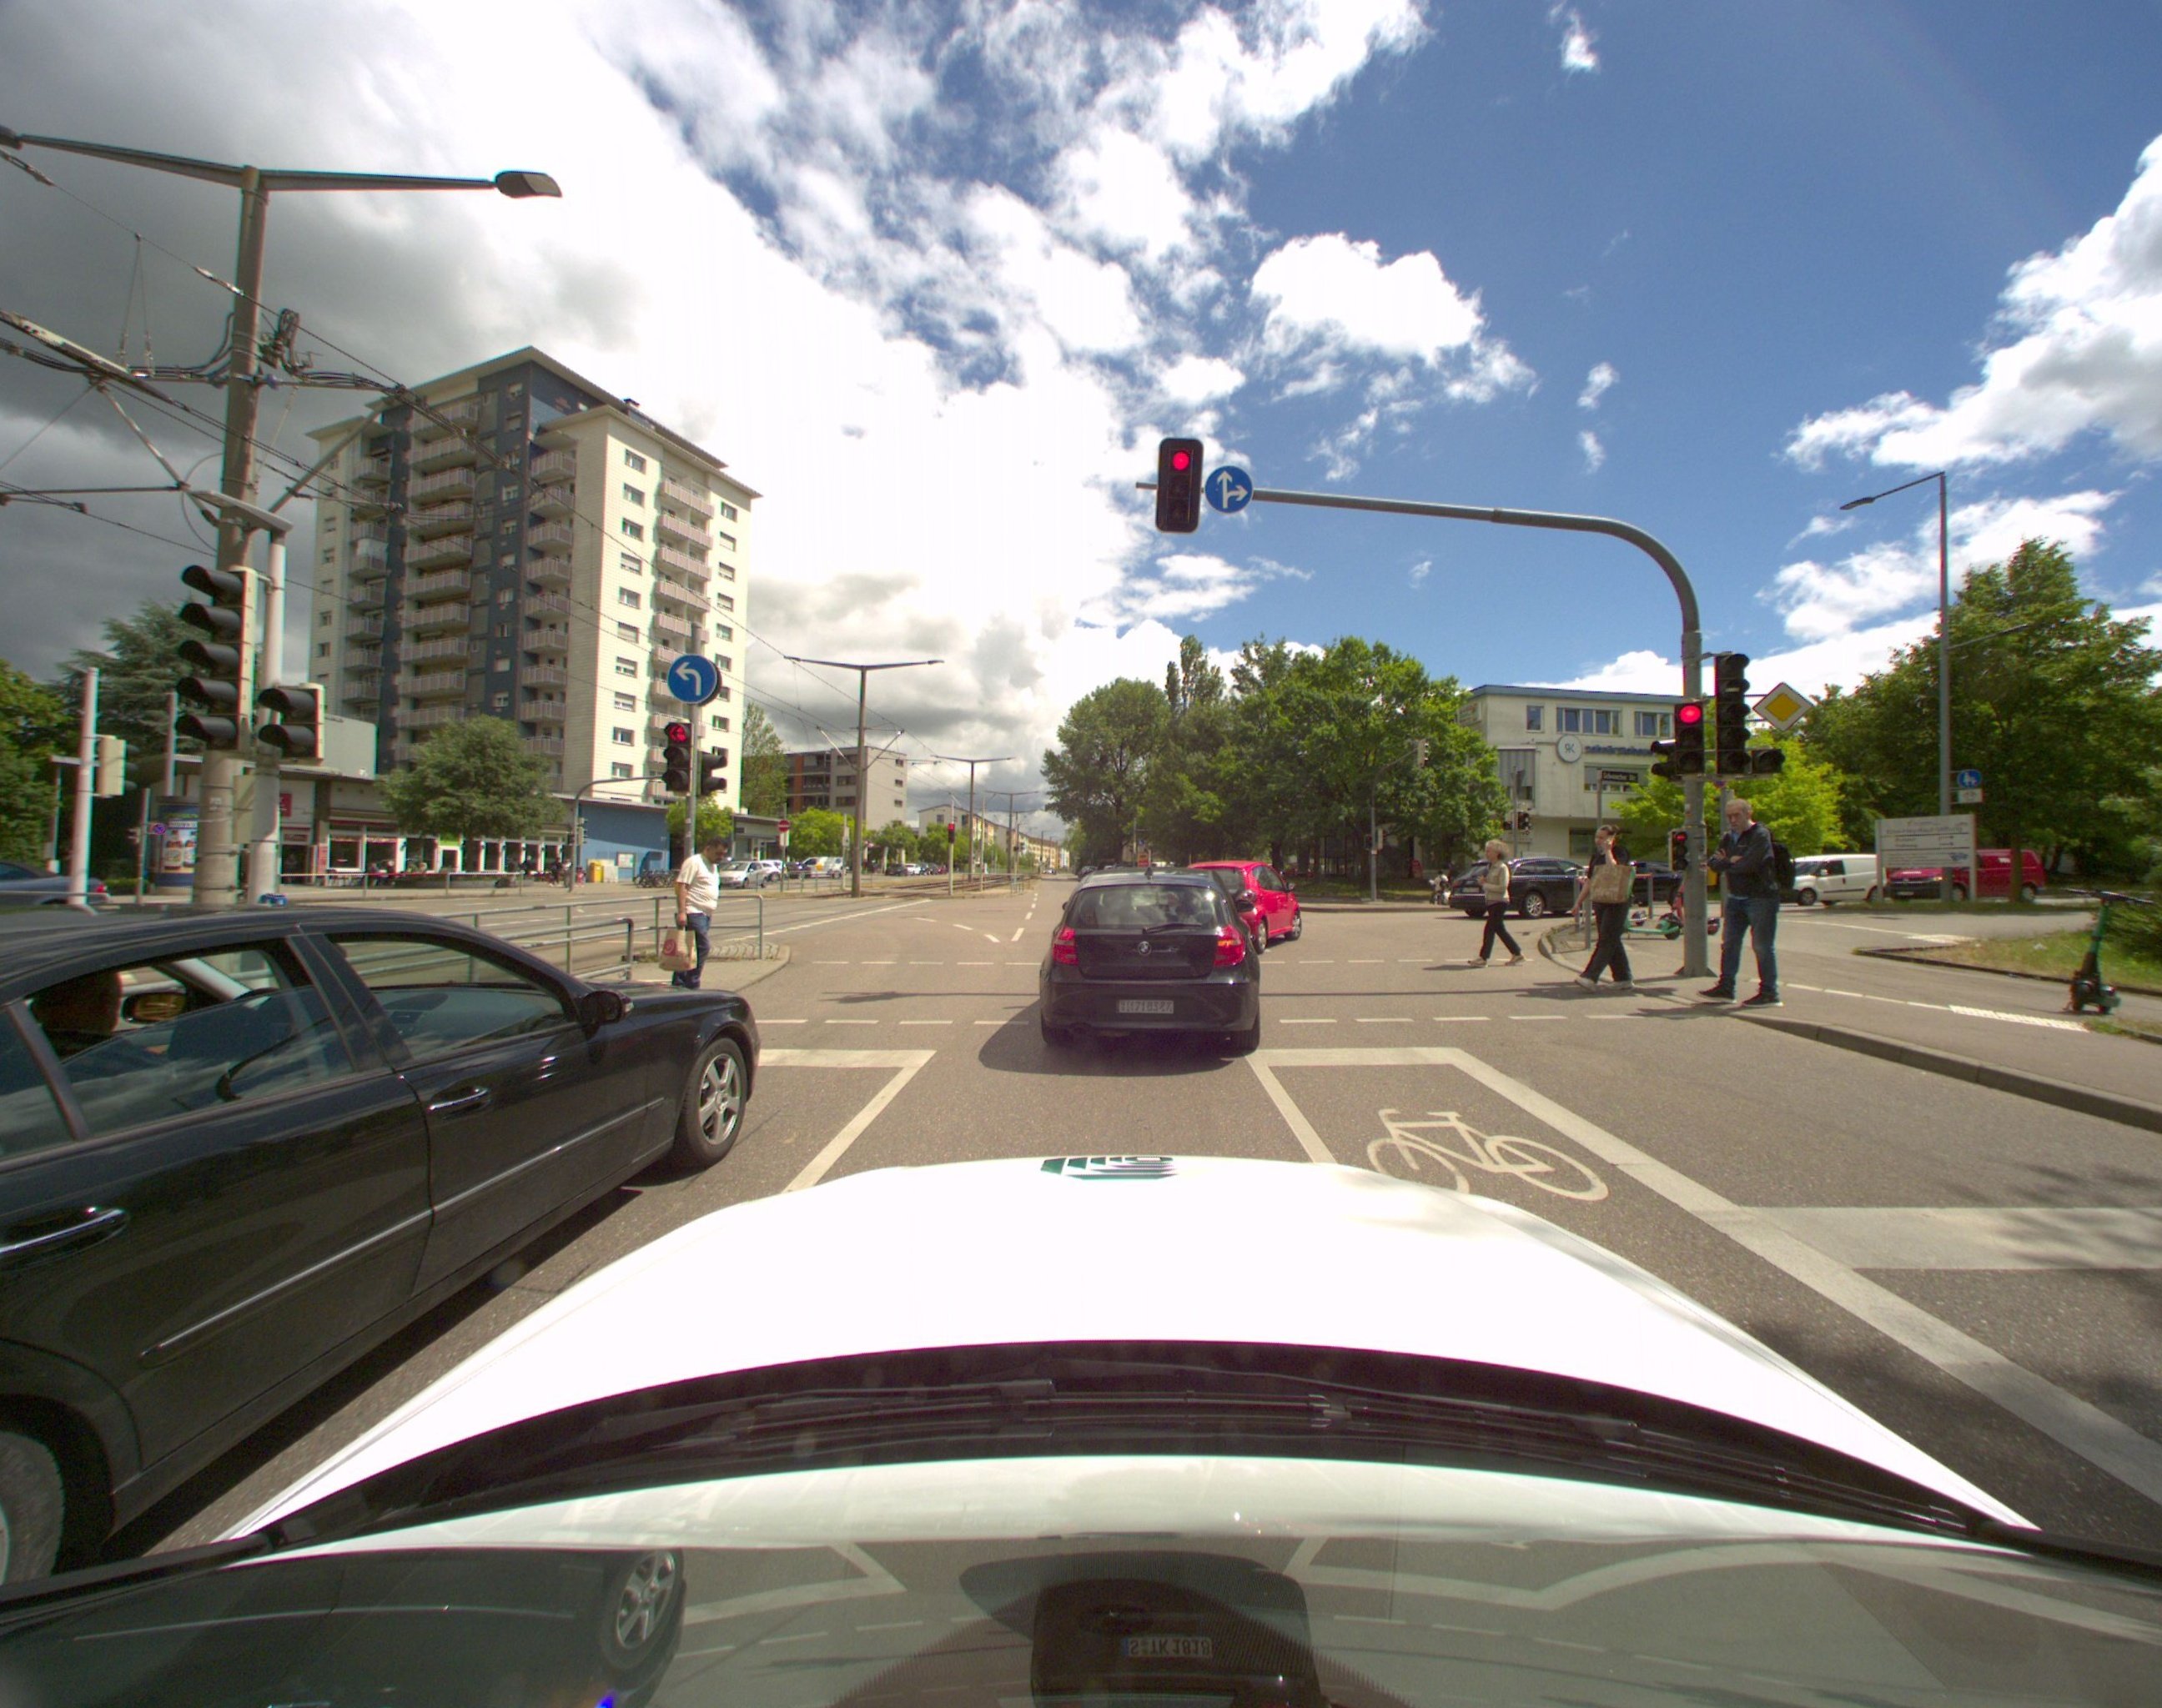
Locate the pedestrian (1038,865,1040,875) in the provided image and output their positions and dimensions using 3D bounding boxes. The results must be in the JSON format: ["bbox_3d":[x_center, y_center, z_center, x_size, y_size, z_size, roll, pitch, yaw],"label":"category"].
[{"bbox_3d":[-6.799,2.656,132.410,0.334,1.627,0.356,0,-1,-16],"label":"pedestrian"}]

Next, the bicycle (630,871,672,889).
[{"bbox_3d":[-23.142,1.378,43.841,1.943,0.935,0.494,0,-1,-5],"label":"bicycle"}]

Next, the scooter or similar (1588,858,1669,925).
[{"bbox_3d":[9.883,0.664,14.709,1.360,1.156,0.540,1,0,-23],"label":"scooter or similar"}]

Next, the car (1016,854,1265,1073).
[{"bbox_3d":[0.749,0.746,7.664,1.742,1.487,4.011,0,0,10],"label":"car"}]

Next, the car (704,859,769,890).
[{"bbox_3d":[-19.624,1.110,46.604,1.930,1.693,3.874,0,0,2],"label":"car"}]

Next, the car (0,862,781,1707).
[{"bbox_3d":[-2.693,0.770,2.483,1.721,1.461,4.546,0,0,2],"label":"car"}]

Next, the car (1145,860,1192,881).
[{"bbox_3d":[8.133,1.510,75.694,4.001,1.823,1.766,0,0,-21],"label":"car"}]

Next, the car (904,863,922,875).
[{"bbox_3d":[-20.941,1.852,101.727,1.758,1.395,3.993,0,0,-5],"label":"car"}]

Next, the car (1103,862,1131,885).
[{"bbox_3d":[2.715,1.450,61.759,1.986,1.684,4.001,0,-1,2],"label":"car"}]

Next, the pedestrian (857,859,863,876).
[{"bbox_3d":[-23.057,1.414,84.882,0.547,1.716,0.667,0,-1,-8],"label":"pedestrian"}]

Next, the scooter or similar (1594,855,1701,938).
[{"bbox_3d":[8.974,0.654,12.923,1.336,1.277,0.463,0,1,8],"label":"scooter or similar"}]

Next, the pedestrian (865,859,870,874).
[{"bbox_3d":[-24.557,1.419,93.554,0.547,1.716,0.404,0,-1,-8],"label":"pedestrian"}]

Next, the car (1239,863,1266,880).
[{"bbox_3d":[16.296,1.642,77.481,1.626,1.573,4.030,0,0,-1],"label":"car"}]

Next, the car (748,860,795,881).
[{"bbox_3d":[-24.531,1.287,64.471,4.165,1.538,1.973,0,0,45],"label":"car"}]

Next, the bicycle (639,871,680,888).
[{"bbox_3d":[-23.201,1.387,44.813,1.943,0.935,0.494,0,-1,-5],"label":"bicycle"}]

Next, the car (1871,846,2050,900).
[{"bbox_3d":[31.915,0.678,29.617,4.800,1.864,1.995,0,-2,-8],"label":"car"}]

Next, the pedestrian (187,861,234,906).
[{"bbox_3d":[-33.319,1.119,31.168,0.957,1.659,1.002,-1,-1,28],"label":"pedestrian"}]

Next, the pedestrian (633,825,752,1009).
[{"bbox_3d":[-3.966,0.620,8.381,0.866,1.808,0.741,0,0,-2],"label":"pedestrian"}]

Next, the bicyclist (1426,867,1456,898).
[{"bbox_3d":[12.352,0.965,27.954,0.788,1.022,0.636,0,-1,1],"label":"bicyclist"}]

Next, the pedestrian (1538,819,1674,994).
[{"bbox_3d":[5.587,0.527,8.709,0.933,1.765,0.770,-1,0,-10],"label":"pedestrian"}]

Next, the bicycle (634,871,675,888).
[{"bbox_3d":[-23.178,1.382,44.307,1.943,0.935,0.494,0,-1,-5],"label":"bicycle"}]

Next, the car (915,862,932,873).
[{"bbox_3d":[-20.963,1.819,108.295,1.758,1.395,3.993,0,0,-5],"label":"car"}]

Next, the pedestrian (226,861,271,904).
[{"bbox_3d":[-32.936,1.125,32.237,0.957,1.659,1.002,-1,-1,28],"label":"pedestrian"}]

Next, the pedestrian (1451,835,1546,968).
[{"bbox_3d":[5.501,0.606,10.800,0.945,1.674,0.874,-1,-1,17],"label":"pedestrian"}]

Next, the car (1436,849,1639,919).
[{"bbox_3d":[11.169,0.684,19.931,4.525,1.554,1.985,0,-1,-23],"label":"car"}]

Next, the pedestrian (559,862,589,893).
[{"bbox_3d":[-28.137,1.299,45.216,0.942,1.659,1.098,-1,-1,-1],"label":"pedestrian"}]

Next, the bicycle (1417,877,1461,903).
[{"bbox_3d":[12.355,1.237,28.152,0.788,0.819,1.808,0,0,2],"label":"bicycle"}]

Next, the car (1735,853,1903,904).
[{"bbox_3d":[26.252,0.835,29.052,4.555,1.717,1.995,0,0,-8],"label":"car"}]

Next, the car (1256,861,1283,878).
[{"bbox_3d":[18.197,1.479,78.730,1.626,1.595,3.998,0,0,-1],"label":"car"}]

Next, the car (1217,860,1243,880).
[{"bbox_3d":[14.068,1.509,76.933,1.626,1.811,4.030,0,0,-1],"label":"car"}]

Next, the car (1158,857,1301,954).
[{"bbox_3d":[2.639,0.771,13.925,1.527,1.441,3.215,0,0,27],"label":"car"}]

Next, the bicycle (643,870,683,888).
[{"bbox_3d":[-23.223,1.391,45.290,1.943,0.935,0.494,0,-1,-5],"label":"bicycle"}]

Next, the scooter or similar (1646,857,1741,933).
[{"bbox_3d":[10.363,0.684,13.794,1.225,1.240,0.555,2,0,-7],"label":"scooter or similar"}]

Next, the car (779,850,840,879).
[{"bbox_3d":[-24.328,0.921,72.736,2.848,2.478,6.642,0,0,-41],"label":"car"}]

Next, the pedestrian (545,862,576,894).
[{"bbox_3d":[-28.133,1.289,44.052,0.942,1.659,1.098,-1,-1,-1],"label":"pedestrian"}]

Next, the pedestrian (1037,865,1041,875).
[{"bbox_3d":[-6.831,2.555,132.336,0.477,1.637,0.454,0,-1,1],"label":"pedestrian"}]

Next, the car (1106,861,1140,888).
[{"bbox_3d":[2.773,1.356,54.305,2.144,1.684,4.001,0,-1,2],"label":"car"}]

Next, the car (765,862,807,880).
[{"bbox_3d":[-24.564,1.365,67.693,1.800,1.420,4.166,0,0,-43],"label":"car"}]

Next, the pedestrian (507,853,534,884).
[{"bbox_3d":[-35.040,0.894,50.939,0.863,1.917,1.213,0,0,-5],"label":"pedestrian"}]

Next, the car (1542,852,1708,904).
[{"bbox_3d":[18.697,0.803,28.099,4.551,1.717,1.996,0,0,-5],"label":"car"}]

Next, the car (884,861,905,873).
[{"bbox_3d":[-21.565,1.494,94.290,1.758,1.395,3.993,0,0,-5],"label":"car"}]

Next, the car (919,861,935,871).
[{"bbox_3d":[-21.300,1.691,112.873,1.758,1.395,3.993,0,0,-5],"label":"car"}]

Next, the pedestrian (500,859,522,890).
[{"bbox_3d":[-30.403,1.079,43.411,0.769,1.615,0.694,0,-1,-17],"label":"pedestrian"}]

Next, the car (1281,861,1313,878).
[{"bbox_3d":[20.948,1.524,79.031,1.728,1.595,3.992,0,0,-5],"label":"car"}]

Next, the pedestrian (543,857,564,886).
[{"bbox_3d":[-29.808,0.993,46.028,0.767,1.615,0.695,0,-1,-12],"label":"pedestrian"}]

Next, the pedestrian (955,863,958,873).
[{"bbox_3d":[-20.645,2.313,135.243,0.451,1.637,0.480,0,-1,-1],"label":"pedestrian"}]

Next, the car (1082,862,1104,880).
[{"bbox_3d":[1.183,1.566,77.103,1.986,1.684,4.002,0,0,2],"label":"car"}]

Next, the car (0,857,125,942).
[{"bbox_3d":[-18.660,0.743,12.932,1.630,1.399,4.492,0,-1,-1],"label":"car"}]

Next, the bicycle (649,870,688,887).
[{"bbox_3d":[-23.208,1.396,45.836,1.943,0.935,0.494,0,-1,-5],"label":"bicycle"}]

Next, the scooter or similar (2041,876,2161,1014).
[{"bbox_3d":[10.621,0.932,8.482,1.247,1.275,0.709,6,-1,-38],"label":"scooter or similar"}]

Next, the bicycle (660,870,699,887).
[{"bbox_3d":[-23.116,1.405,46.936,1.943,0.935,0.494,0,-1,-5],"label":"bicycle"}]

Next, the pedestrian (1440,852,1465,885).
[{"bbox_3d":[18.711,0.738,40.984,0.769,1.643,0.903,0,0,-14],"label":"pedestrian"}]

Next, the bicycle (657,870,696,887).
[{"bbox_3d":[-23.086,1.401,46.446,1.943,0.935,0.494,0,-1,-5],"label":"bicycle"}]

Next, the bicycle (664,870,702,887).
[{"bbox_3d":[-23.144,1.409,47.415,1.943,0.935,0.494,0,-1,-5],"label":"bicycle"}]

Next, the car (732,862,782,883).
[{"bbox_3d":[-24.380,1.359,61.220,4.165,1.570,1.973,0,0,45],"label":"car"}]

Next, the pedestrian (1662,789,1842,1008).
[{"bbox_3d":[6.301,0.393,7.707,0.963,1.942,0.896,0,0,-3],"label":"pedestrian"}]
